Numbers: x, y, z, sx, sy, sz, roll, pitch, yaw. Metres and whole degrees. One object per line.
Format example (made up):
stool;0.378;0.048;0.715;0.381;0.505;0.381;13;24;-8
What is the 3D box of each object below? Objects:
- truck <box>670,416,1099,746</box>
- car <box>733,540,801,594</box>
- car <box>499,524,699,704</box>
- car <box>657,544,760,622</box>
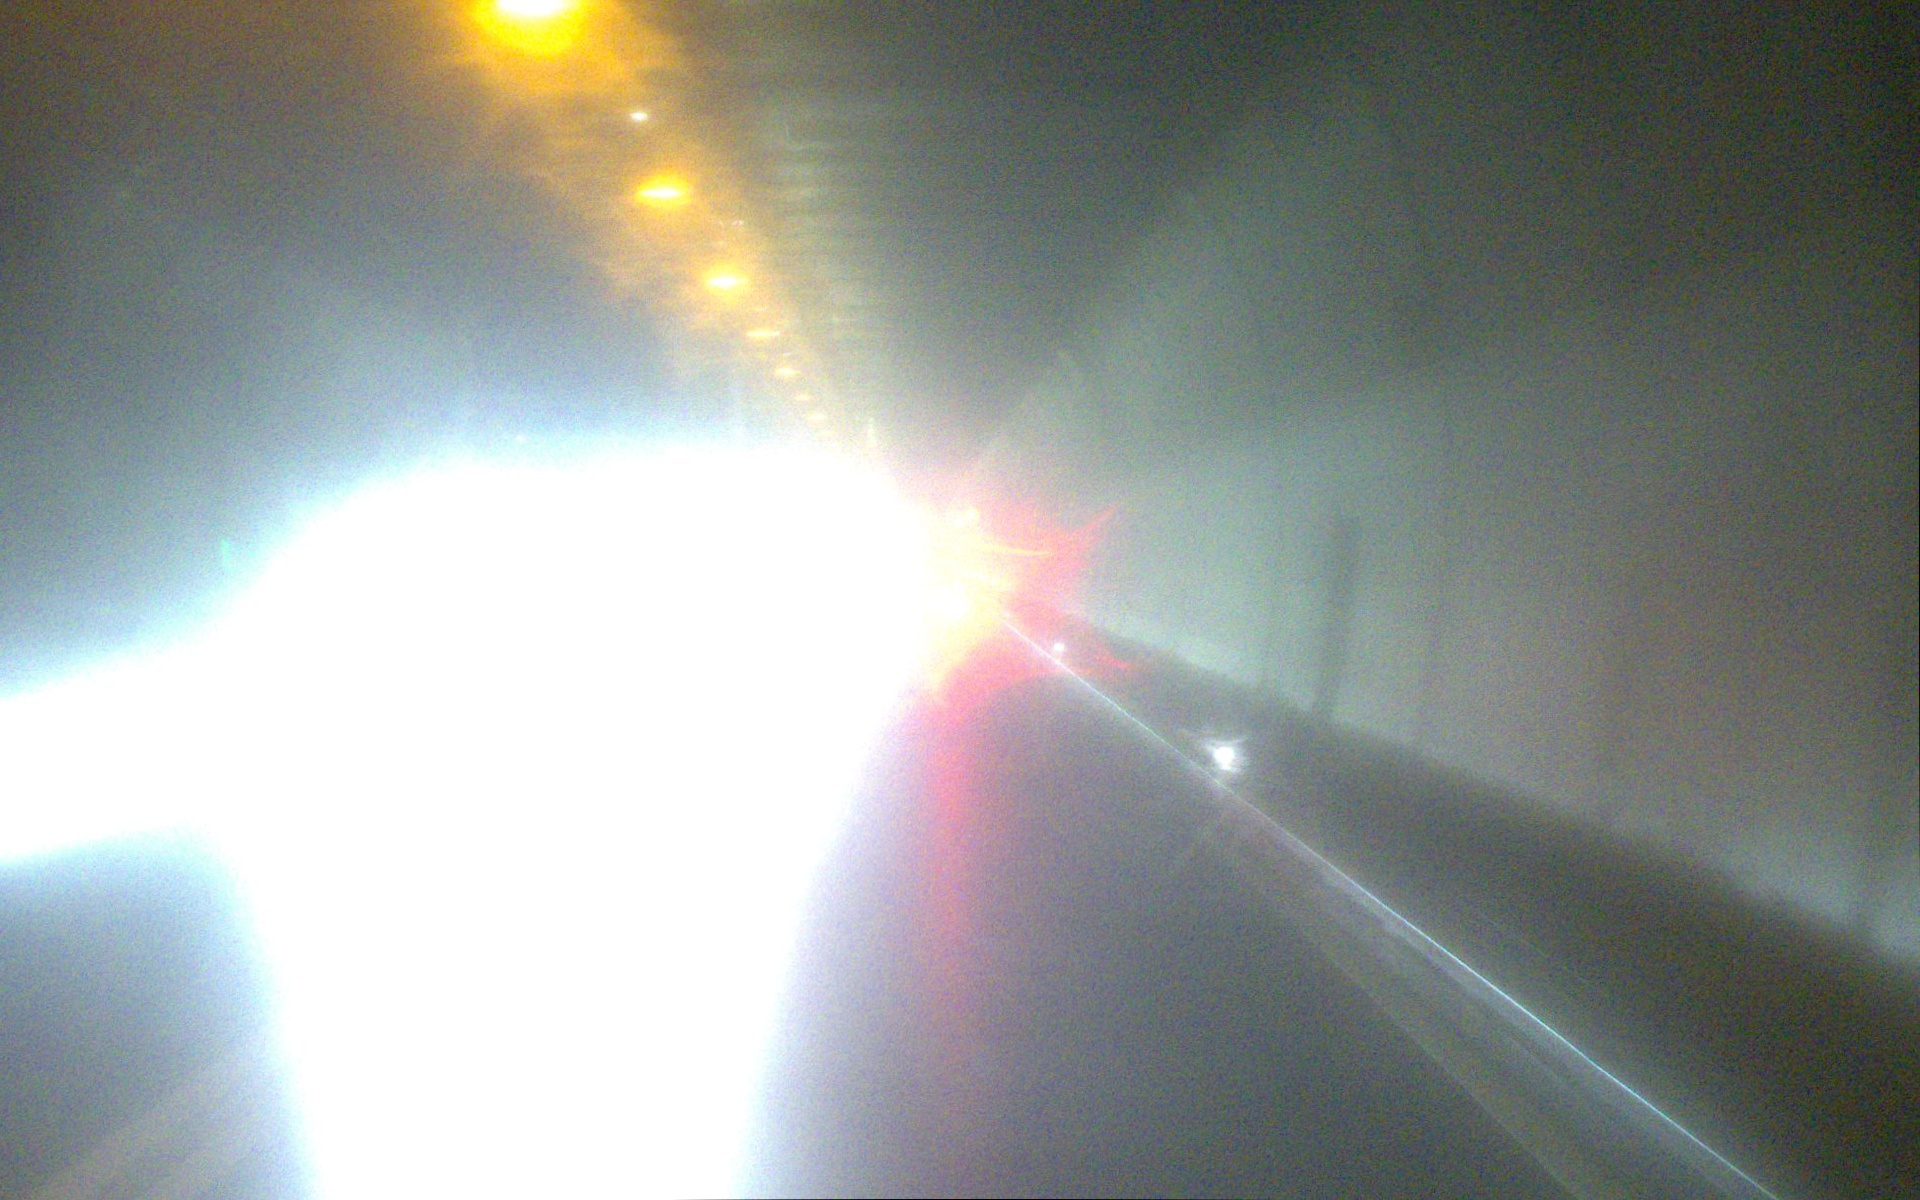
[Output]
truck;-0.676;-0.234;33.265;3.535;2.684;8.956;-1;1;-1
car;-5.361;-0.929;95.865;1.759;1.475;3.887;1;1;-2
car;-3.455;0.100;33.406;1.569;1.626;3.730;1;1;-1
car;-4.794;-0.349;65.968;1.735;1.436;3.836;0;1;-1
